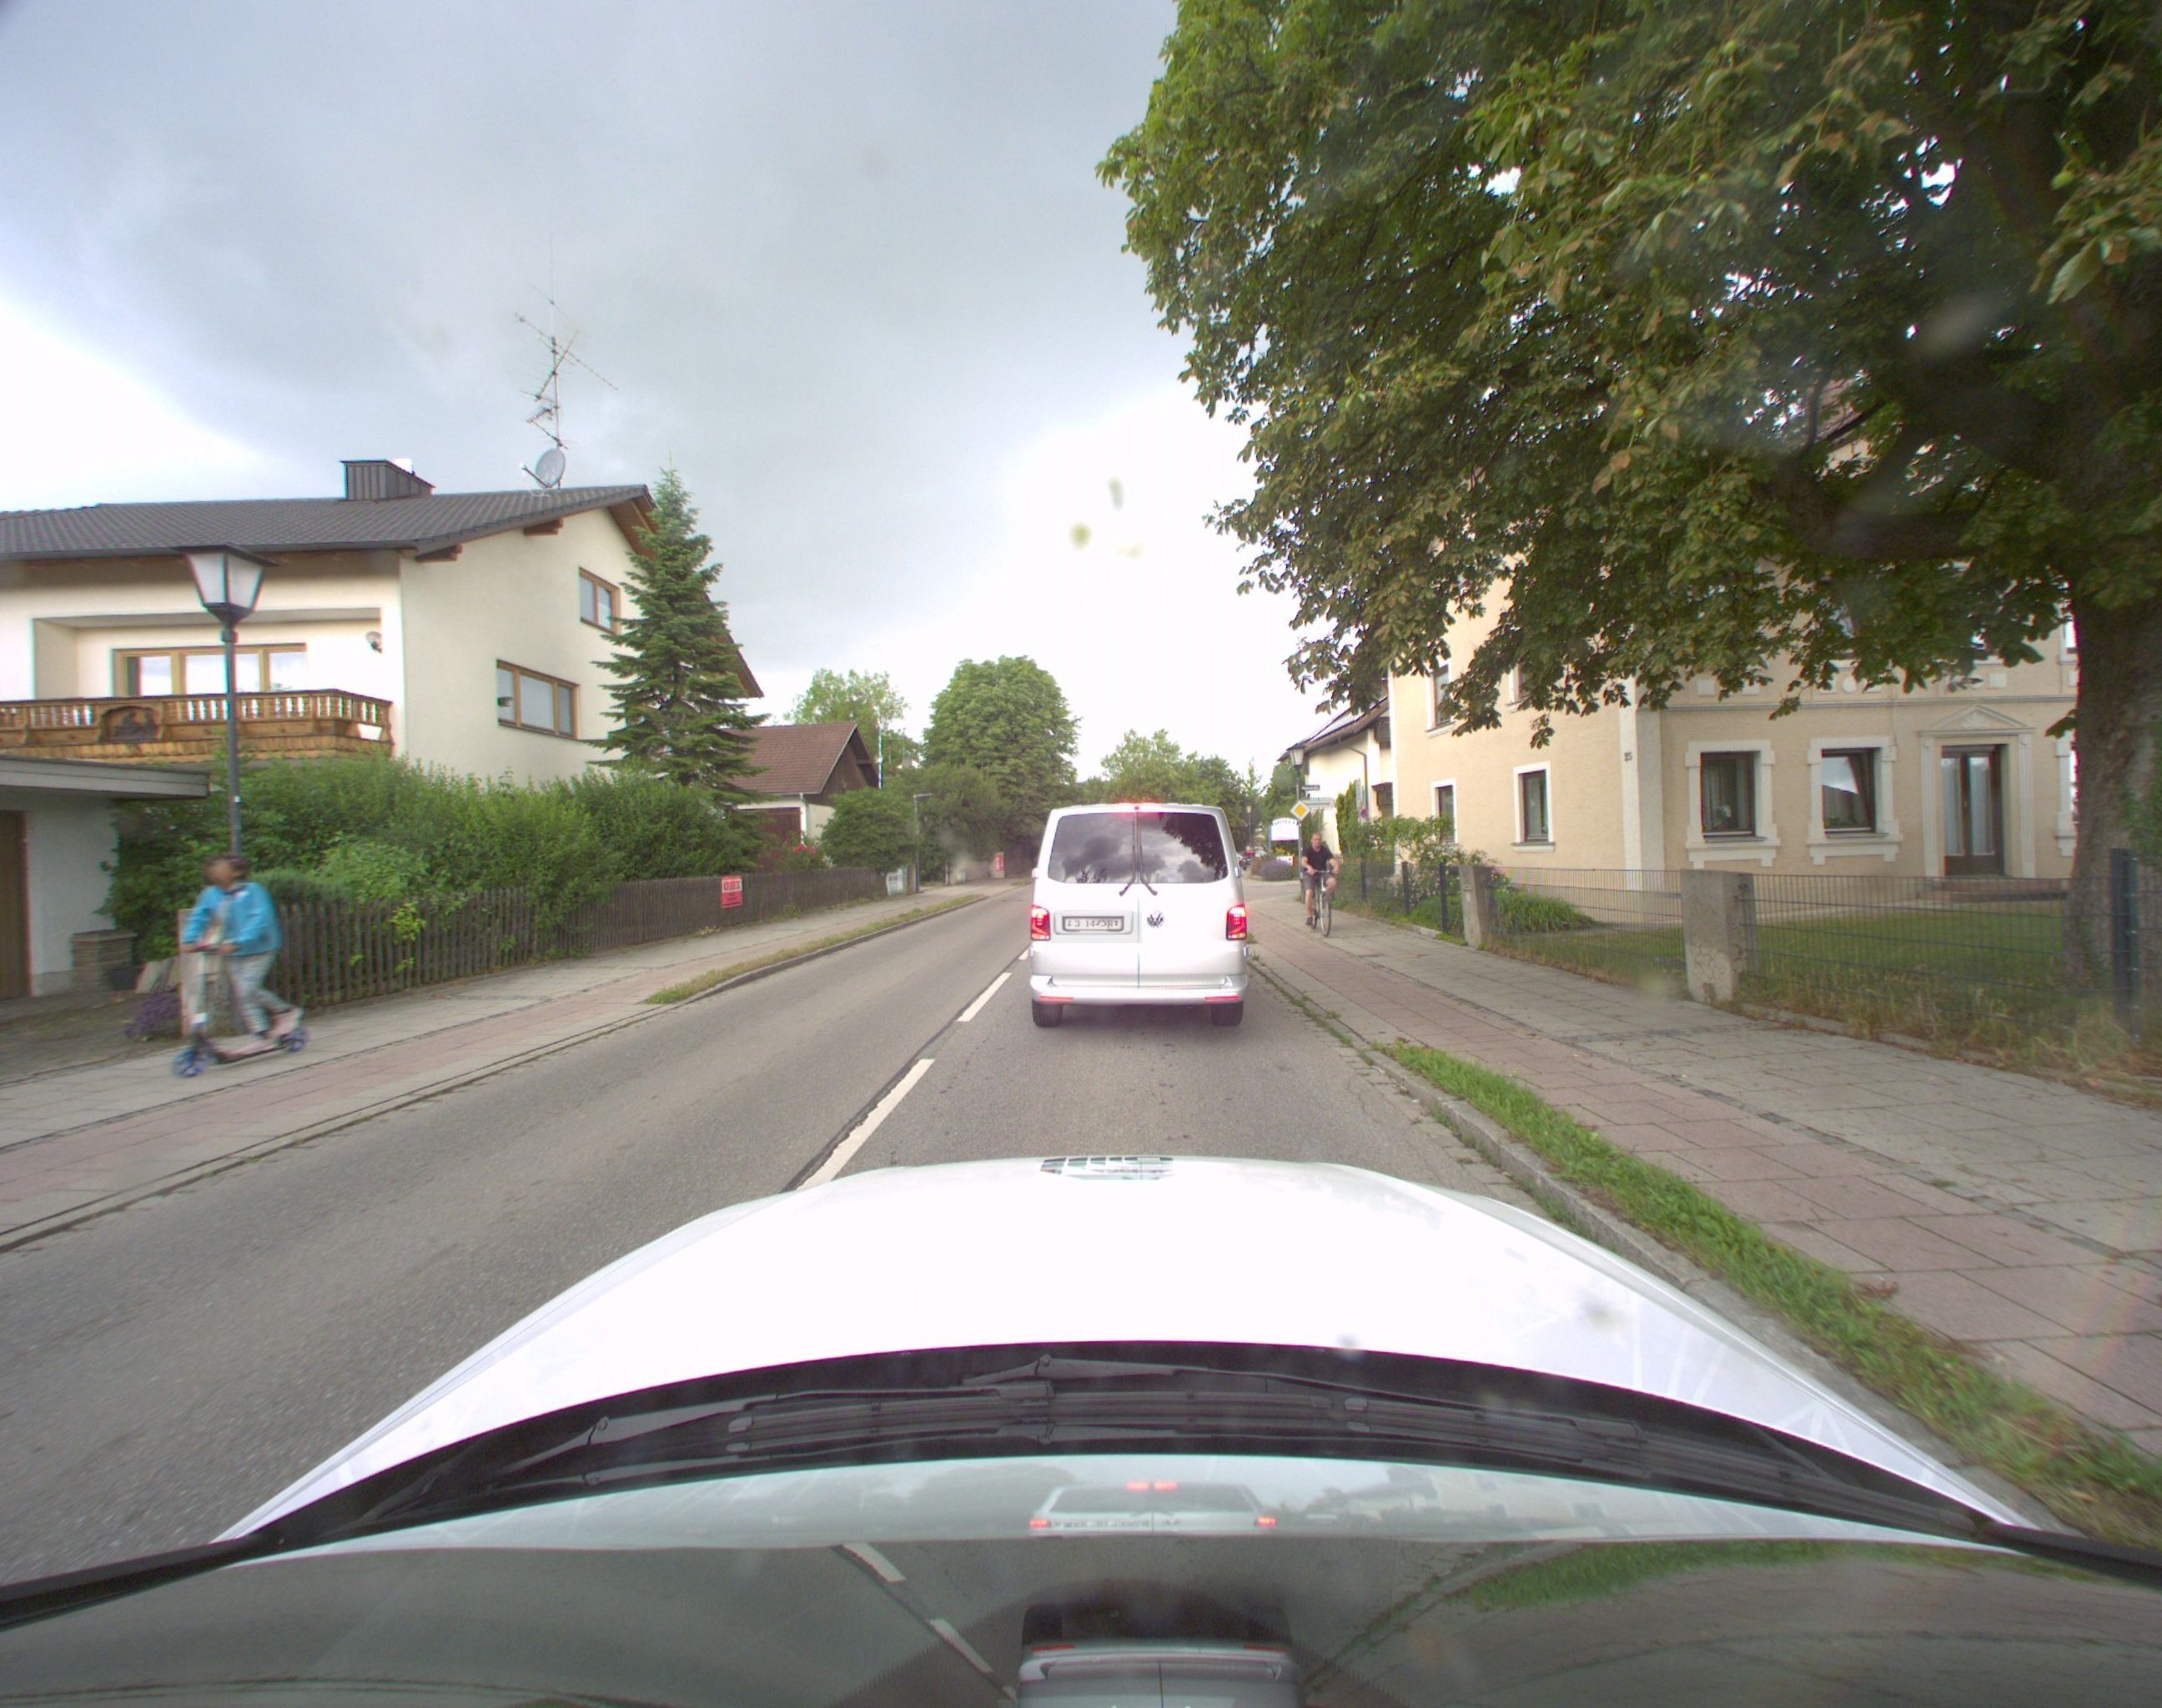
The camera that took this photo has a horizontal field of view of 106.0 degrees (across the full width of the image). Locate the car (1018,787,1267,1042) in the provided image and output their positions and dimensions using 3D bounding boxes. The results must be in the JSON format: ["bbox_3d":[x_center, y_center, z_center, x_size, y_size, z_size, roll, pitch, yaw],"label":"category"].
[{"bbox_3d":[0.576,0.474,8.288,1.873,1.940,3.923,-2,0,3],"label":"car"}]

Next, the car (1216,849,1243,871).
[{"bbox_3d":[12.542,0.480,68.811,1.867,1.748,4.097,-2,0,15],"label":"car"}]

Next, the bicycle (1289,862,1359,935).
[{"bbox_3d":[4.228,0.743,14.309,0.761,1.143,1.847,-2,0,4],"label":"bicycle"}]

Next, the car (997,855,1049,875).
[{"bbox_3d":[-4.614,0.848,64.160,3.982,1.486,1.996,-1,0,-6],"label":"car"}]

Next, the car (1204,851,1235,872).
[{"bbox_3d":[10.581,0.562,61.911,1.867,1.535,3.937,-2,0,16],"label":"car"}]

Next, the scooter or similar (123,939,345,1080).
[{"bbox_3d":[-6.292,1.126,6.121,0.519,0.850,1.062,-1,0,3],"label":"scooter or similar"}]

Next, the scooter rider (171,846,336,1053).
[{"bbox_3d":[-6.303,0.689,6.241,0.500,1.489,0.716,-1,0,2],"label":"scooter rider"}]

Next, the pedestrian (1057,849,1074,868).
[{"bbox_3d":[-1.465,0.423,77.017,1.323,1.803,1.062,-1,0,-21],"label":"pedestrian"}]

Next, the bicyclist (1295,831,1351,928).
[{"bbox_3d":[4.212,0.431,14.237,0.733,1.632,0.891,-1,0,3],"label":"bicyclist"}]

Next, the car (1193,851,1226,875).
[{"bbox_3d":[8.871,0.571,56.009,1.868,1.535,3.936,-2,0,14],"label":"car"}]
